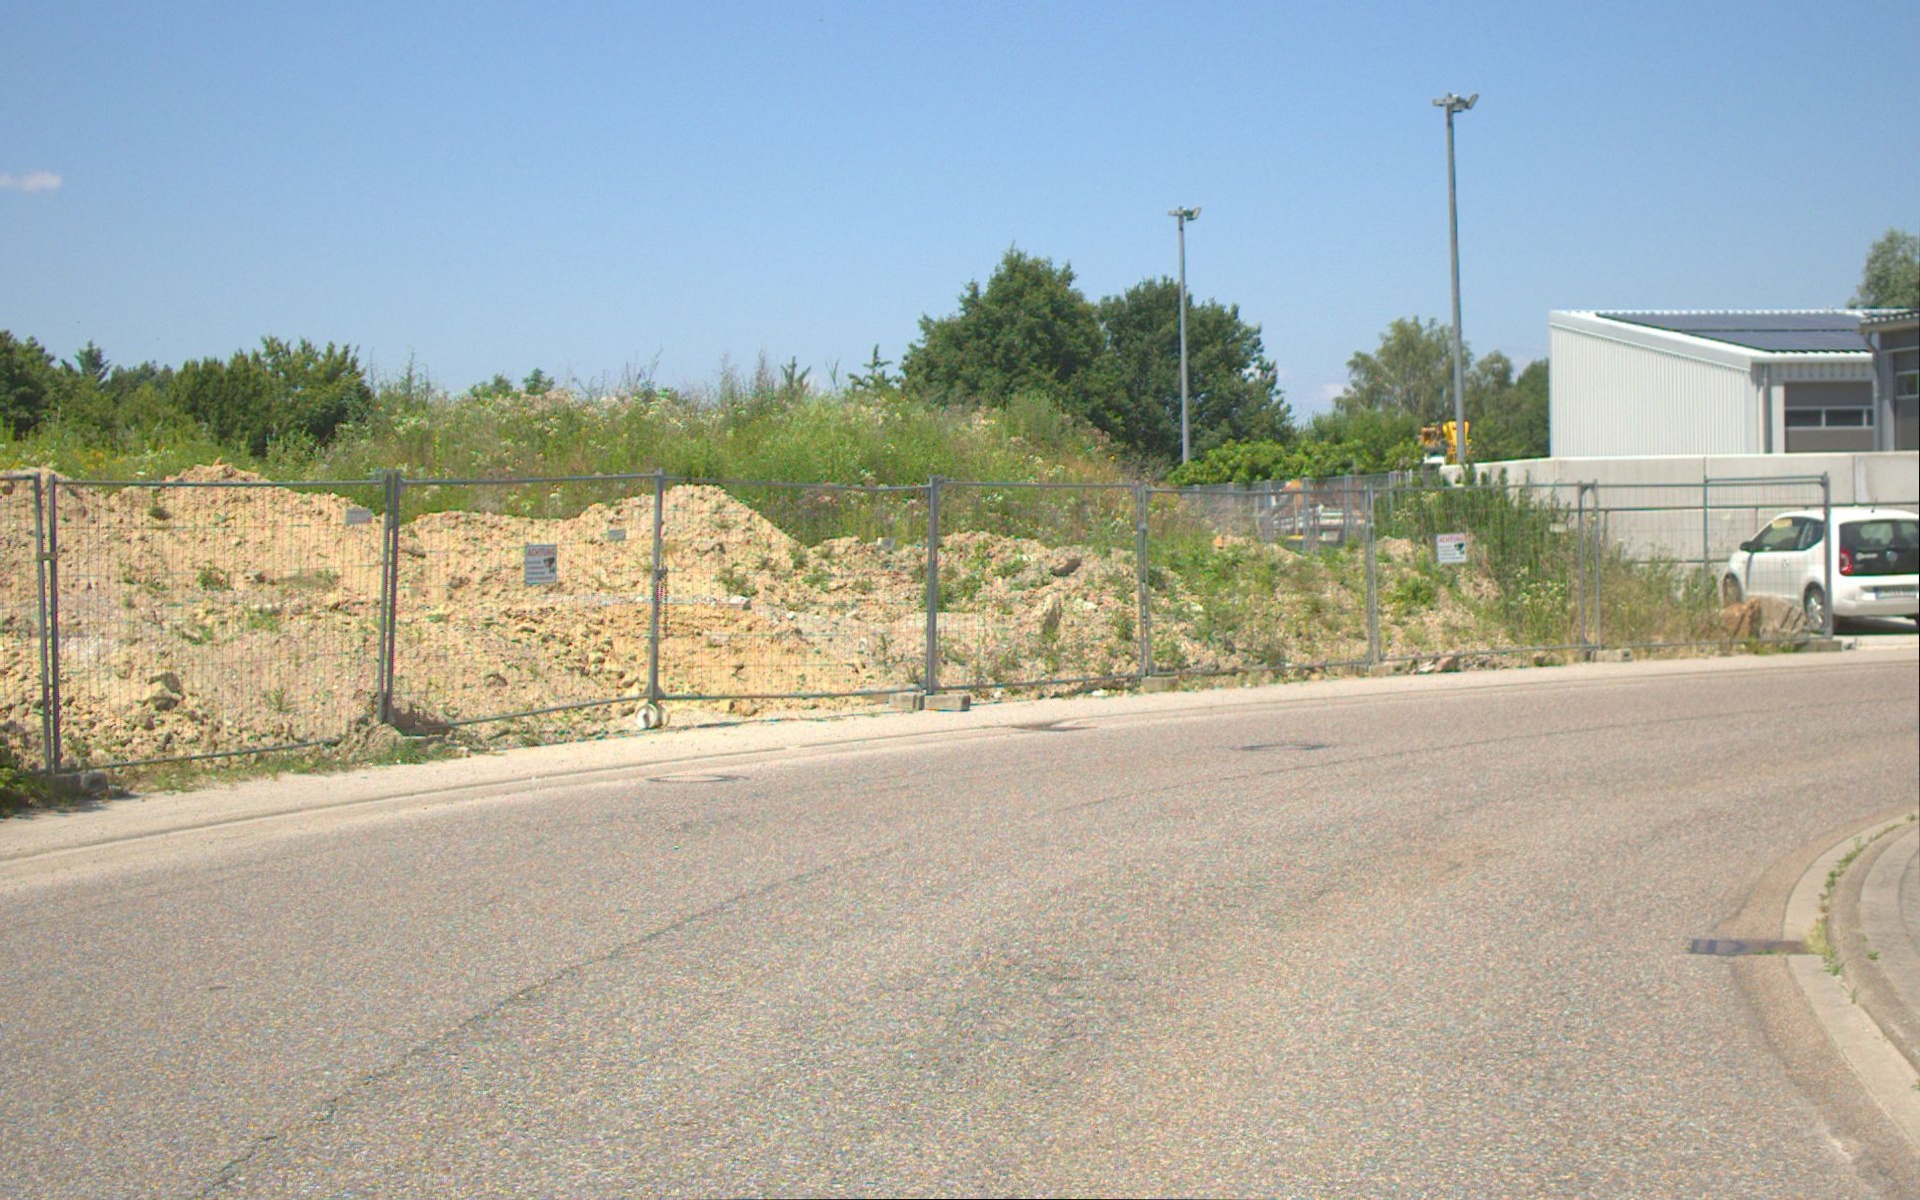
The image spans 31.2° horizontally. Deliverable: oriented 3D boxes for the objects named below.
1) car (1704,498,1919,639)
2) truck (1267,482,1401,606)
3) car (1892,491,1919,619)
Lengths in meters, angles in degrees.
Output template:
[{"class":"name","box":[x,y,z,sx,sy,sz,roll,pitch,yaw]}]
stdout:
[{"class":"car","box":[10.866,-0.435,42.717,1.782,1.493,3.704,-2,4,-12]},{"class":"truck","box":[9.372,-1.398,86.508,1.993,2.974,4.647,-2,1,-11]},{"class":"car","box":[13.341,-0.506,42.902,1.794,1.603,3.704,-2,4,-12]}]
